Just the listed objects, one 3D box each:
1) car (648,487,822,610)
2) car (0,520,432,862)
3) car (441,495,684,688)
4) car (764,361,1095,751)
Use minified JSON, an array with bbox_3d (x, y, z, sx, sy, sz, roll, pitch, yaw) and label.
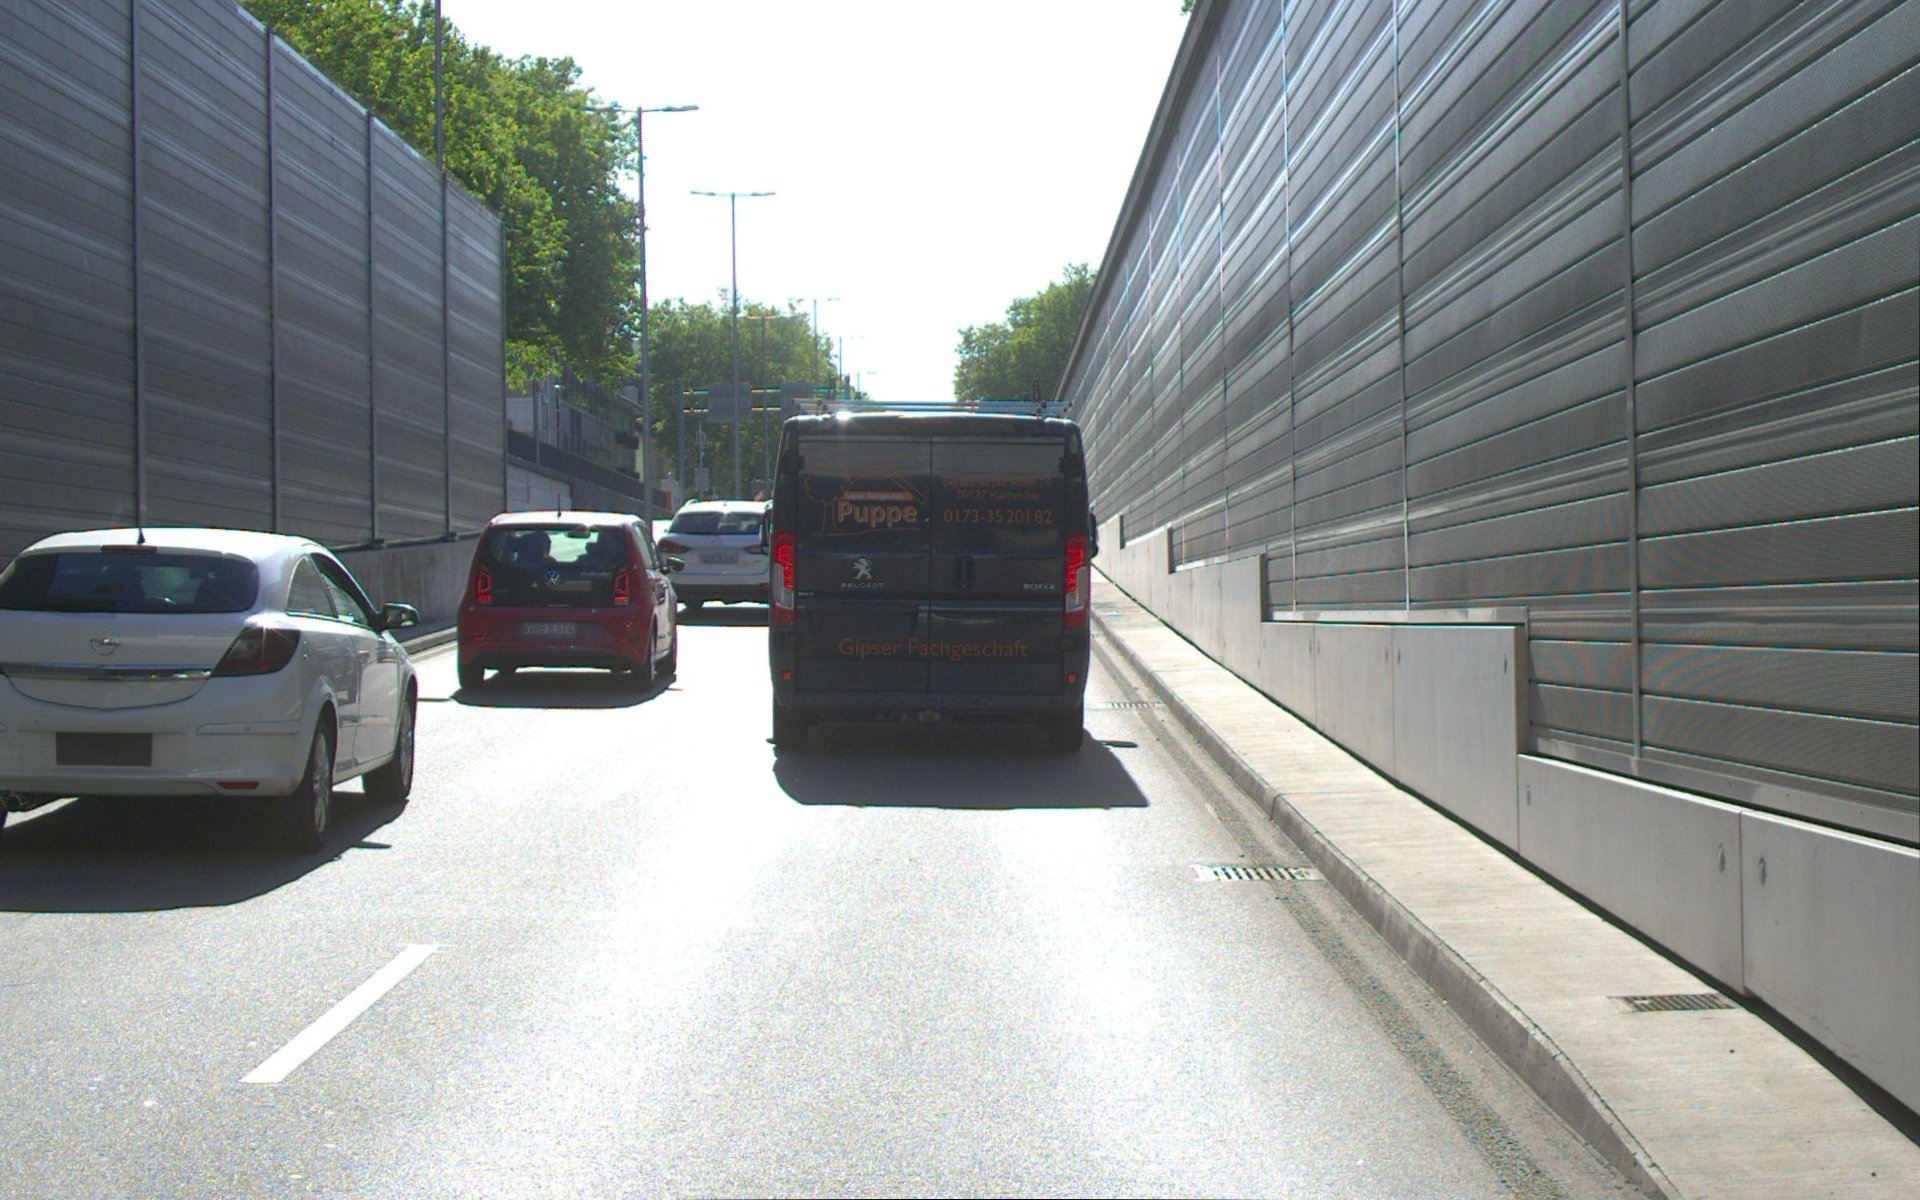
[{"bbox_3d":[-2.853,-0.697,44.275,1.892,1.469,3.991,1,2,1],"label":"car"},{"bbox_3d":[-3.638,0.340,16.459,1.619,1.398,3.852,1,2,0],"label":"car"},{"bbox_3d":[-3.336,-0.118,29.366,1.689,1.478,3.319,1,3,0],"label":"car"},{"bbox_3d":[-0.180,-0.326,23.114,2.030,2.394,3.973,0,2,0],"label":"car"}]
